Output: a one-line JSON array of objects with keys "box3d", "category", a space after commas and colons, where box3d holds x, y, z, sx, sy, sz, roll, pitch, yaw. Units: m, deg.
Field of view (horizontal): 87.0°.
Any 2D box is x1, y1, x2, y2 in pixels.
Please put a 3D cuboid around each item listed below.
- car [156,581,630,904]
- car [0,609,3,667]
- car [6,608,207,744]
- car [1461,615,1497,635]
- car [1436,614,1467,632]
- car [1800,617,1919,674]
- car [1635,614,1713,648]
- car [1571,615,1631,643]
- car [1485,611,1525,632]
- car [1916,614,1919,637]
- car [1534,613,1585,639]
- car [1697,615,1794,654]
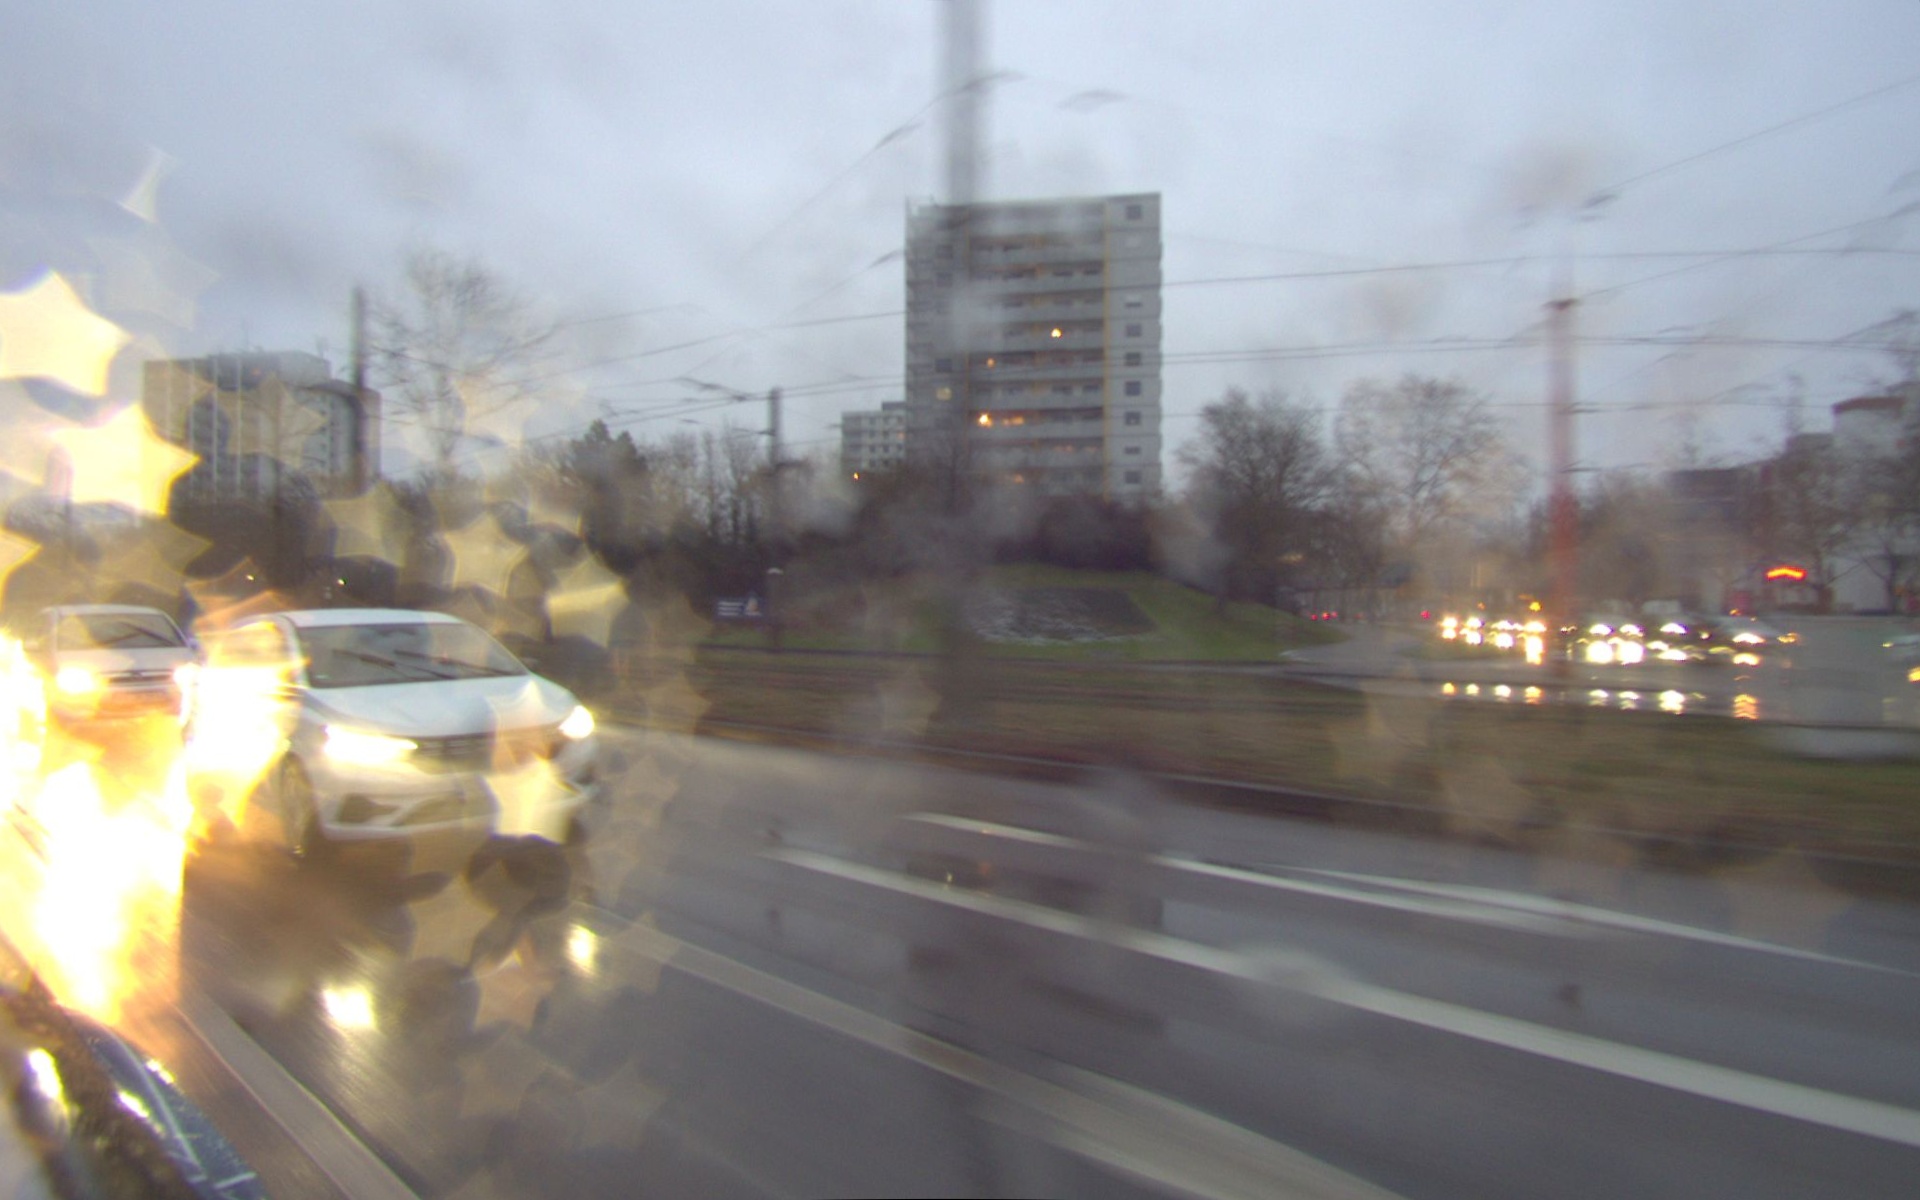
[{"box3d": [-4.223, 0.762, 7.239, 4.145, 1.660, 1.696, -1, -1, 42], "category": "car"}, {"box3d": [-28.960, 1.072, 28.886, 4.121, 1.612, 1.928, -1, -1, 40], "category": "car"}, {"box3d": [-11.768, 0.911, 13.856, 4.191, 1.551, 1.671, -1, 0, 44], "category": "car"}, {"box3d": [42.538, 2.045, 83.026, 1.696, 1.556, 3.963, 0, -1, 14], "category": "car"}, {"box3d": [44.926, 2.108, 92.568, 1.696, 1.556, 3.963, 0, -1, 14], "category": "car"}, {"box3d": [27.174, 1.294, 29.907, 1.834, 1.556, 4.420, 0, -1, 14], "category": "car"}, {"box3d": [34.483, 1.465, 48.984, 1.696, 1.556, 3.982, 0, -1, 14], "category": "car"}, {"box3d": [36.712, 1.659, 58.088, 1.696, 1.556, 3.982, 0, -1, 14], "category": "car"}, {"box3d": [41.020, 1.636, 76.304, 1.696, 1.556, 3.963, 0, -1, 14], "category": "car"}, {"box3d": [59.386, 1.531, 60.109, 1.756, 1.397, 3.989, 0, -1, 8], "category": "car"}, {"box3d": [38.392, 1.659, 64.877, 1.696, 1.556, 3.982, 0, -1, 14], "category": "car"}, {"box3d": [33.020, 1.438, 42.661, 1.696, 1.556, 3.982, 0, -1, 14], "category": "car"}]
